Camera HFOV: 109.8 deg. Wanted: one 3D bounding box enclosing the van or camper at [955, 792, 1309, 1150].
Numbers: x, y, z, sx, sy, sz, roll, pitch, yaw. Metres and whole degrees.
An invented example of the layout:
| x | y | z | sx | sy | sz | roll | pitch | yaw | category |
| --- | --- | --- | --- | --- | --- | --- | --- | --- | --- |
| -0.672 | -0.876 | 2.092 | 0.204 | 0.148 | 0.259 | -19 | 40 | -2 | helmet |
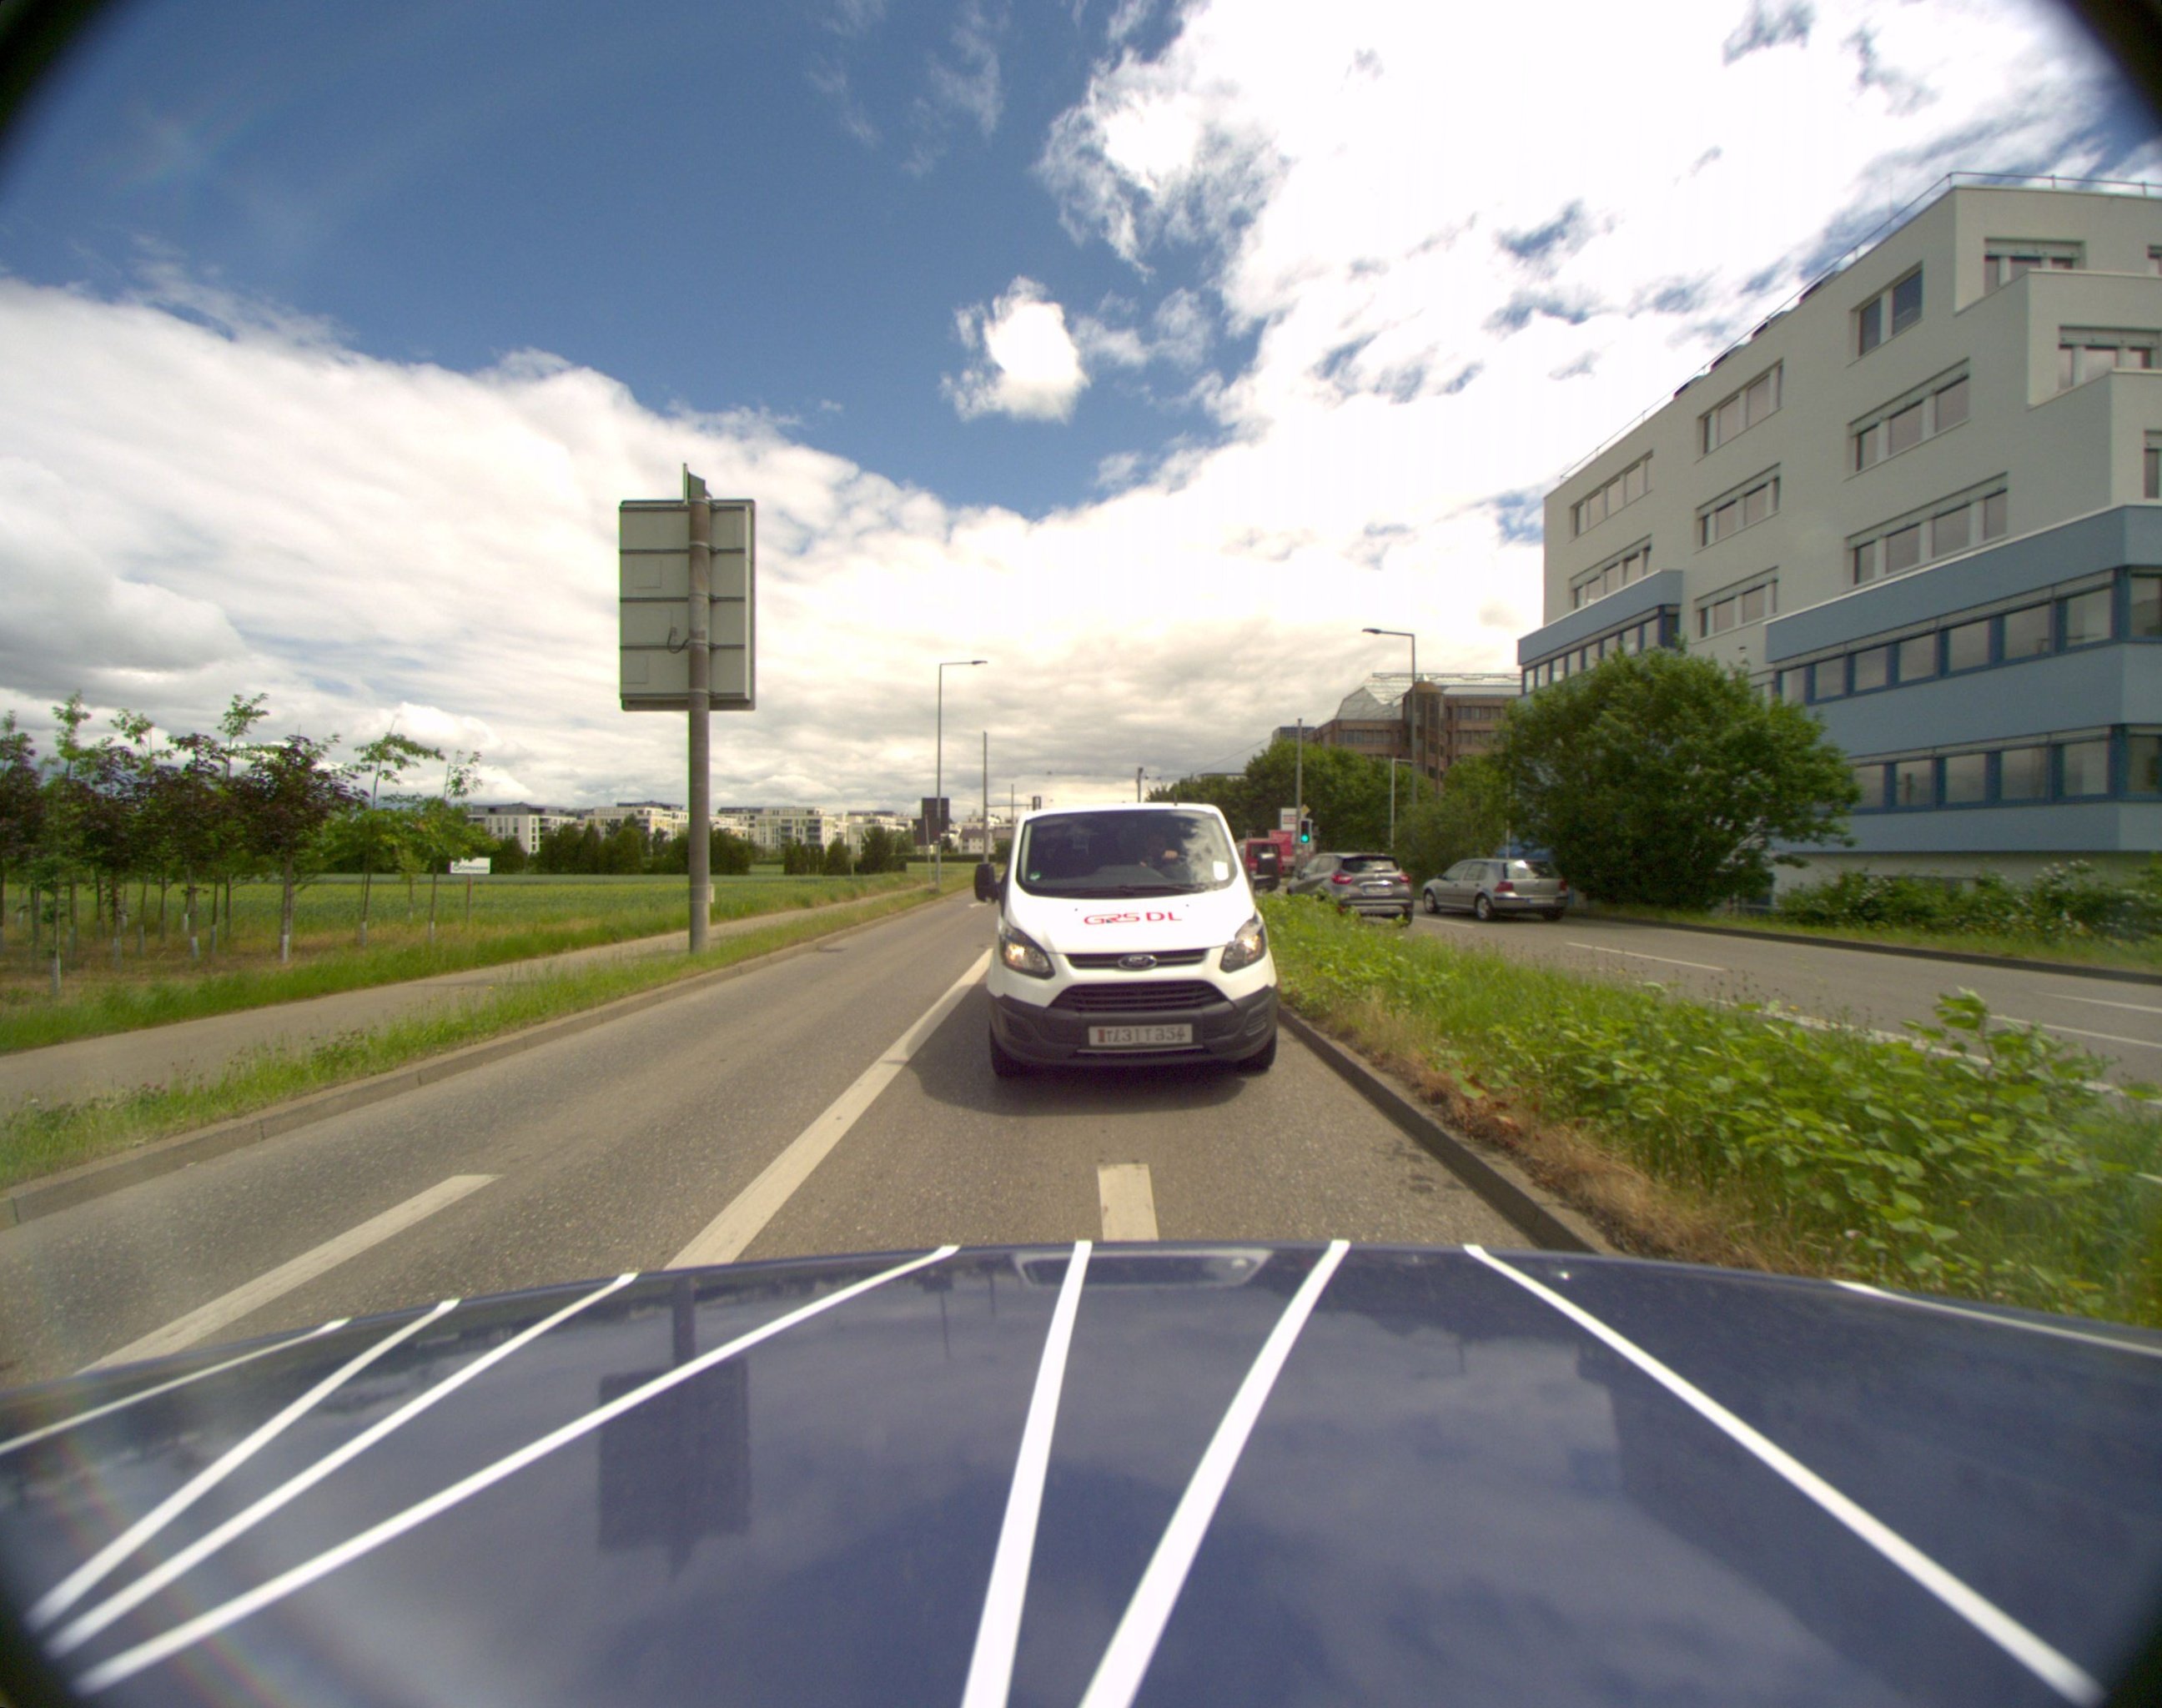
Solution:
| x | y | z | sx | sy | sz | roll | pitch | yaw | category |
| --- | --- | --- | --- | --- | --- | --- | --- | --- | --- |
| 0.177 | 0.654 | 7.175 | 1.999 | 2.002 | 5.798 | 0 | 0 | -2 | van or camper |

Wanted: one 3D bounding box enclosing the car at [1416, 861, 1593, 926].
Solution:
| x | y | z | sx | sy | sz | roll | pitch | yaw | category |
| --- | --- | --- | --- | --- | --- | --- | --- | --- | --- |
| 9.851 | 0.854 | 18.085 | 1.998 | 1.346 | 4.000 | -1 | 0 | 1 | car |

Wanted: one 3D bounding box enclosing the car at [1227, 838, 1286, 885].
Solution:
| x | y | z | sx | sy | sz | roll | pitch | yaw | category |
| --- | --- | --- | --- | --- | --- | --- | --- | --- | --- |
| 9.325 | 0.362 | 40.868 | 1.998 | 2.398 | 5.240 | 0 | 0 | 0 | car |

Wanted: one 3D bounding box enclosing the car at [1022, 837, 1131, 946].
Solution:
| x | y | z | sx | sy | sz | roll | pitch | yaw | category |
| --- | --- | --- | --- | --- | --- | --- | --- | --- | --- |
| -0.061 | 0.686 | 16.025 | 1.998 | 2.002 | 4.000 | 0 | 0 | 1 | car |

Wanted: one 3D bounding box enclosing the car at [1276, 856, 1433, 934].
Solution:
| x | y | z | sx | sy | sz | roll | pitch | yaw | category |
| --- | --- | --- | --- | --- | --- | --- | --- | --- | --- |
| 5.914 | 0.813 | 16.986 | 1.940 | 1.508 | 3.999 | -1 | 0 | -2 | car |

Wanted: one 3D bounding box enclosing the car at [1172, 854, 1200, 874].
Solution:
| x | y | z | sx | sy | sz | roll | pitch | yaw | category |
| --- | --- | --- | --- | --- | --- | --- | --- | --- | --- |
| 8.202 | 0.785 | 59.658 | 1.683 | 1.473 | 4.000 | -1 | 0 | 0 | car |
